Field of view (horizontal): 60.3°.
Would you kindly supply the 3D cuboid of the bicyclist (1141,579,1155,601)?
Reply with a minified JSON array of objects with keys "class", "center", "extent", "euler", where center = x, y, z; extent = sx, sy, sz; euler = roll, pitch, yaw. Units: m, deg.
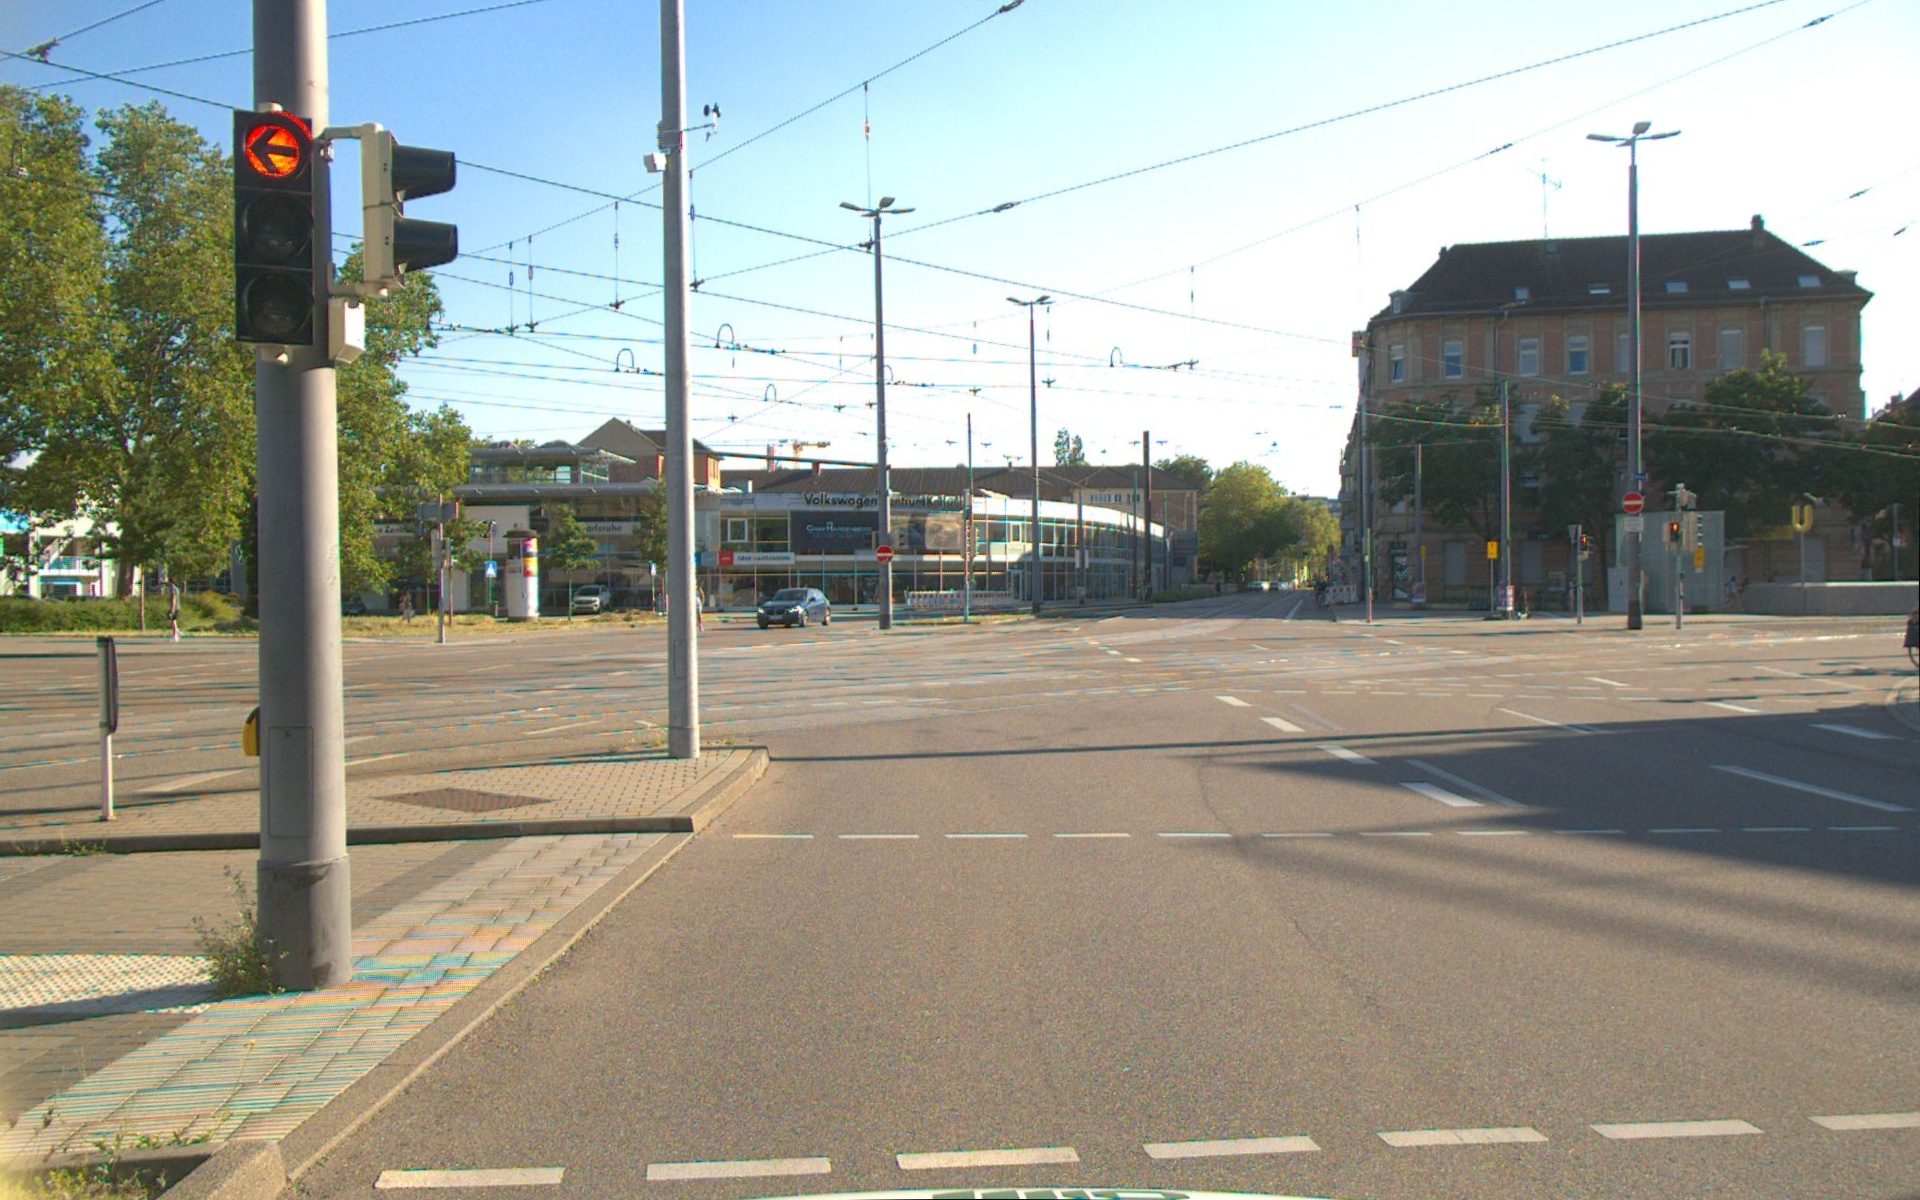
[{"class":"bicyclist","center":[13.744,-0.725,120.899],"extent":[0.641,1.600,0.921],"euler":[1,-1,28]}]

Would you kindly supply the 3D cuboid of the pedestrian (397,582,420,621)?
[{"class":"pedestrian","center":[-24.618,0.051,73.781],"extent":[0.839,1.723,0.496],"euler":[1,-1,-3]}]

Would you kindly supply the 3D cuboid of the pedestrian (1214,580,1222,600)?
[{"class":"pedestrian","center":[26.811,-0.993,171.829],"extent":[0.702,2.049,0.758],"euler":[1,-1,1]}]

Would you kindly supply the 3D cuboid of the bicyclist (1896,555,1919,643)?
[{"class":"bicyclist","center":[17.666,-0.015,30.221],"extent":[0.505,1.584,0.945],"euler":[1,0,-8]}]

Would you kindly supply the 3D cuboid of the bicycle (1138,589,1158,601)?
[{"class":"bicycle","center":[13.756,-0.367,120.903],"extent":[0.626,0.885,2.231],"euler":[1,0,29]}]

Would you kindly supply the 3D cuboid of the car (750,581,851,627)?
[{"class":"car","center":[-5.905,0.168,61.593],"extent":[1.954,1.613,3.996],"euler":[1,0,26]}]

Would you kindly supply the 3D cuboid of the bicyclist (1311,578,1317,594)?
[{"class":"bicyclist","center":[24.676,-0.974,115.355],"extent":[0.399,1.136,0.399],"euler":[1,-1,11]}]

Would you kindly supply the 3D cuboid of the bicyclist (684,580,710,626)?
[{"class":"bicyclist","center":[-9.478,0.107,59.600],"extent":[0.585,1.644,0.823],"euler":[1,-1,16]}]

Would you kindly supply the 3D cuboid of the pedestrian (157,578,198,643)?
[{"class":"pedestrian","center":[-23.306,0.312,49.249],"extent":[0.777,1.919,0.759],"euler":[1,-1,6]}]

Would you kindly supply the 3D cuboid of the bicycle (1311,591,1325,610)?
[{"class":"bicycle","center":[18.576,0.008,85.717],"extent":[0.643,0.969,1.601],"euler":[1,0,14]}]

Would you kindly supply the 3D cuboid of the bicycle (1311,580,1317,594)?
[{"class":"bicycle","center":[24.689,-0.894,115.356],"extent":[0.401,0.958,1.847],"euler":[1,0,12]}]

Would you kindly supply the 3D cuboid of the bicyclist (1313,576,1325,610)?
[{"class":"bicyclist","center":[18.605,-0.374,85.828],"extent":[0.508,1.730,0.516],"euler":[1,-1,2]}]

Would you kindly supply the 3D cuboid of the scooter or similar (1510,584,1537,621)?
[{"class":"scooter or similar","center":[21.524,0.098,63.215],"extent":[0.769,1.400,1.910],"euler":[1,0,13]}]

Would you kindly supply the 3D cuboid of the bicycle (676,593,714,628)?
[{"class":"bicycle","center":[-9.518,0.378,59.474],"extent":[0.599,1.210,1.870],"euler":[1,0,17]}]

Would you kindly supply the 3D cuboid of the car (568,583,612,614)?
[{"class":"car","center":[-22.146,-0.103,98.987],"extent":[1.954,1.780,3.997],"euler":[1,0,-4]}]

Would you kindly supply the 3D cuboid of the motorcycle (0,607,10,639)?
[{"class":"motorcycle","center":[-28.929,0.669,48.489],"extent":[1.748,0.930,0.675],"euler":[1,0,-21]}]

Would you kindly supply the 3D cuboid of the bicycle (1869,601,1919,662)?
[{"class":"bicycle","center":[17.655,0.589,30.221],"extent":[0.524,1.067,2.316],"euler":[1,1,-9]}]
